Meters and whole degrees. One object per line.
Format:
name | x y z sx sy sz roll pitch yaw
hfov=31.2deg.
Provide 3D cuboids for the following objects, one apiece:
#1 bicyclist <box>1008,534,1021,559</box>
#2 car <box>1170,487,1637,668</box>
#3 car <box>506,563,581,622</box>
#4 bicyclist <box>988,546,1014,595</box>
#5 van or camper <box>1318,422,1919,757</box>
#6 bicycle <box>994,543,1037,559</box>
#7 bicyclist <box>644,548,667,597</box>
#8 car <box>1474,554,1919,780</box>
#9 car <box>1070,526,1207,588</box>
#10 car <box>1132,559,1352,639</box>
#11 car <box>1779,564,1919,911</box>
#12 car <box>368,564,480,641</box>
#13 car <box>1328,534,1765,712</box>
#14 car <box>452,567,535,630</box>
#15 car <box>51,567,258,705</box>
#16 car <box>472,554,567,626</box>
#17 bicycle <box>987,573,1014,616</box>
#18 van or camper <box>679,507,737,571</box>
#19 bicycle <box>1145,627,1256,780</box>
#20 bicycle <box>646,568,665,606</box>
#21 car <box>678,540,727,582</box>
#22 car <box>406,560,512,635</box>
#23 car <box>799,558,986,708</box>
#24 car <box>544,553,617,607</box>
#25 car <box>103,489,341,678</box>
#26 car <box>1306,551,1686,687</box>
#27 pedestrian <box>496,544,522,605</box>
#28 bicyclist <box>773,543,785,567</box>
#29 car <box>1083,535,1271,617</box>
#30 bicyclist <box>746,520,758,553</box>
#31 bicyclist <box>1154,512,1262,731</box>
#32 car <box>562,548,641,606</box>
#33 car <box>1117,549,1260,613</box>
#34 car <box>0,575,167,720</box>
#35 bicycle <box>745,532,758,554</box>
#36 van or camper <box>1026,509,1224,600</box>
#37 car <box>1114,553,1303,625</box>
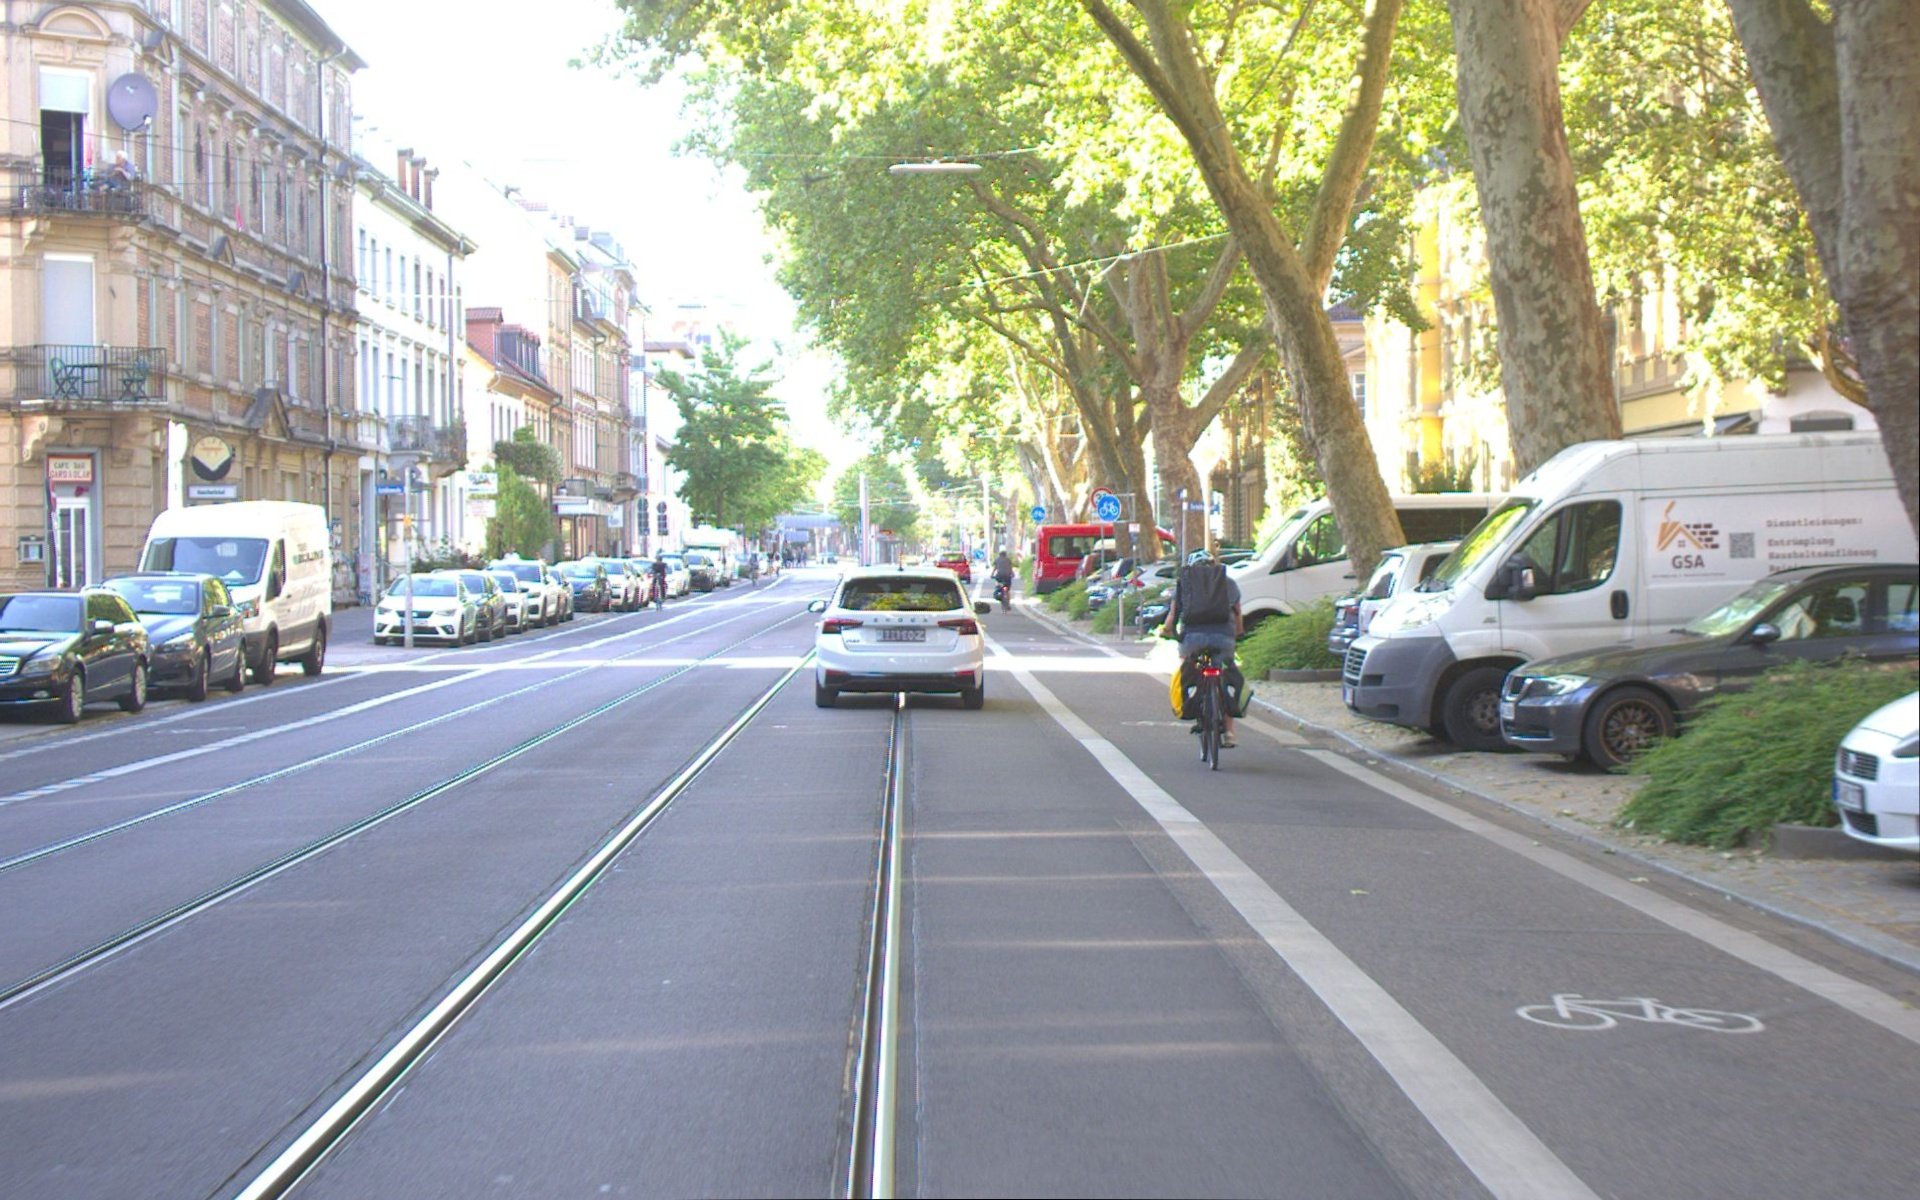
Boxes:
bicyclist | 3.577 -3.507 225.138 0.737 1.583 0.586 -1 1 12
car | 5.866 -0.326 46.062 5.991 2.274 2.006 -1 2 1
car | -10.980 -0.217 90.861 1.662 1.516 4.065 0 1 -3
bicyclist | 1.125 -0.808 94.254 0.679 1.334 0.525 1 1 0
van or camper | 6.029 -0.114 27.486 6.032 2.482 2.107 -1 1 -1
bicycle | 3.621 -3.195 225.103 2.771 0.996 0.592 1 1 15
bicyclist | -9.360 -0.851 105.692 0.582 1.477 0.807 -2 1 -1
car | 6.054 0.460 24.800 4.388 1.546 1.783 1 1 -1
car | 5.265 -1.260 101.685 3.818 1.643 1.767 -3 0 -3
car | 5.518 -0.031 67.638 4.096 1.486 1.831 -1 1 -3
car | 5.921 0.542 15.659 3.954 1.475 1.688 -2 1 1
car | -10.817 0.032 69.601 1.740 1.486 4.045 0 1 -2
car | 5.790 0.218 34.232 3.954 1.650 1.796 -1 0 -3
car | -10.874 -0.059 80.280 1.699 1.415 4.001 0 1 -5
car | -10.161 0.409 43.660 1.718 1.626 4.347 -1 1 -2
car | -10.930 -0.271 85.536 1.786 1.717 4.719 1 1 0
bicycle | 1.108 -0.153 94.384 0.680 1.151 2.964 1 1 0
van or camper | -12.648 -3.069 172.767 2.216 3.129 7.113 0 1 1
bicycle | 1.772 0.742 25.589 0.595 1.001 2.511 2 1 0
bicycle | -9.366 -0.410 105.788 0.421 1.146 2.232 -2 0 -1
car | -11.542 -1.769 154.587 1.964 1.775 4.938 2 1 -2
car | -10.910 -0.083 75.087 1.740 1.557 4.787 0 1 -2
car | -0.749 0.304 35.797 1.842 1.475 3.839 0 1 -2
car | -11.100 -0.597 100.695 1.554 1.510 3.924 -1 1 2
car | -10.487 -0.266 49.318 2.065 2.527 5.667 -1 1 1
car | 6.154 0.205 39.771 4.053 1.455 1.796 -1 1 -2
pedestrian | -14.963 -0.865 114.058 0.759 2.007 0.830 -1 1 -2
bicyclist | -11.391 -2.807 216.183 0.638 1.498 1.070 -2 1 1
car | 5.204 -0.580 82.742 4.261 1.713 1.849 -3 1 -3
bicyclist | -10.117 -3.092 167.341 0.473 1.630 0.800 -1 1 0
bicyclist | 1.819 0.148 25.343 0.614 1.547 0.935 4 1 0
car | -11.015 -0.719 105.909 1.856 1.698 4.763 -1 1 0
car | 5.943 -0.505 89.679 3.595 1.594 1.541 -1 0 0
car | -10.154 0.480 37.804 1.718 1.451 4.572 -1 1 1
bicycle | -10.117 -2.779 167.155 0.481 1.082 1.846 -1 1 0
van or camper | 5.077 -1.426 106.393 5.814 2.510 2.288 -3 2 -2
car | 5.538 -0.248 76.968 4.027 1.475 1.681 -2 1 -2
